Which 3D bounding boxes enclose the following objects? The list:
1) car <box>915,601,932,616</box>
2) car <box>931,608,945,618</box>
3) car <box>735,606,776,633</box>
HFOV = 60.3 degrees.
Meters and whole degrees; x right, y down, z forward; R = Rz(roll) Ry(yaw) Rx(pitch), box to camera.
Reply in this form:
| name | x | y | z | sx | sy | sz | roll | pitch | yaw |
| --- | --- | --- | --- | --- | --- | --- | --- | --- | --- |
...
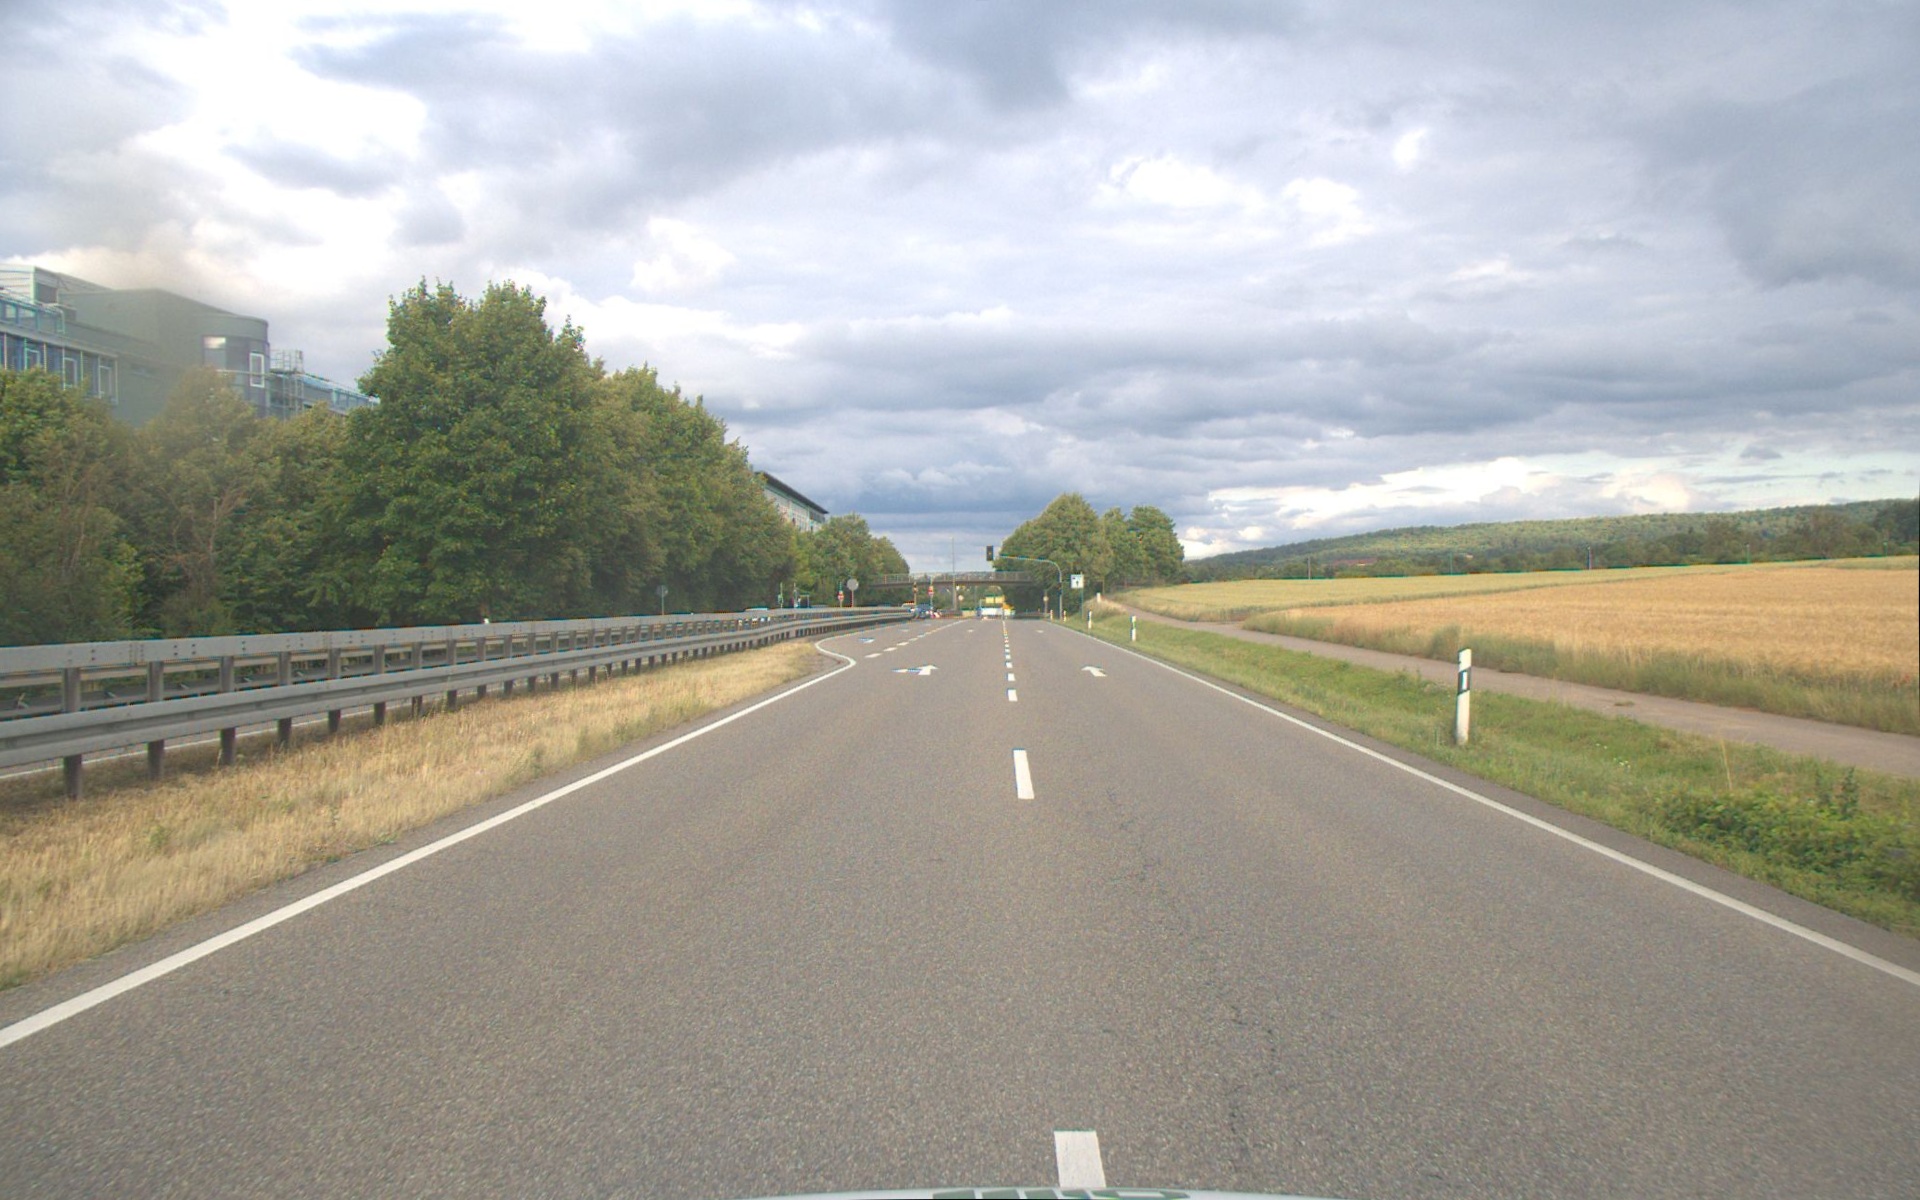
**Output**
| name | x | y | z | sx | sy | sz | roll | pitch | yaw |
| --- | --- | --- | --- | --- | --- | --- | --- | --- | --- |
| car | -4.640 | 1.117 | 212.435 | 1.952 | 1.906 | 4.737 | -1 | 0 | 1 |
| car | -2.427 | 1.429 | 183.975 | 1.329 | 1.111 | 2.922 | -1 | 0 | 2 |
| car | -11.620 | 1.082 | 94.188 | 1.722 | 1.438 | 4.459 | -1 | 0 | 1 |
